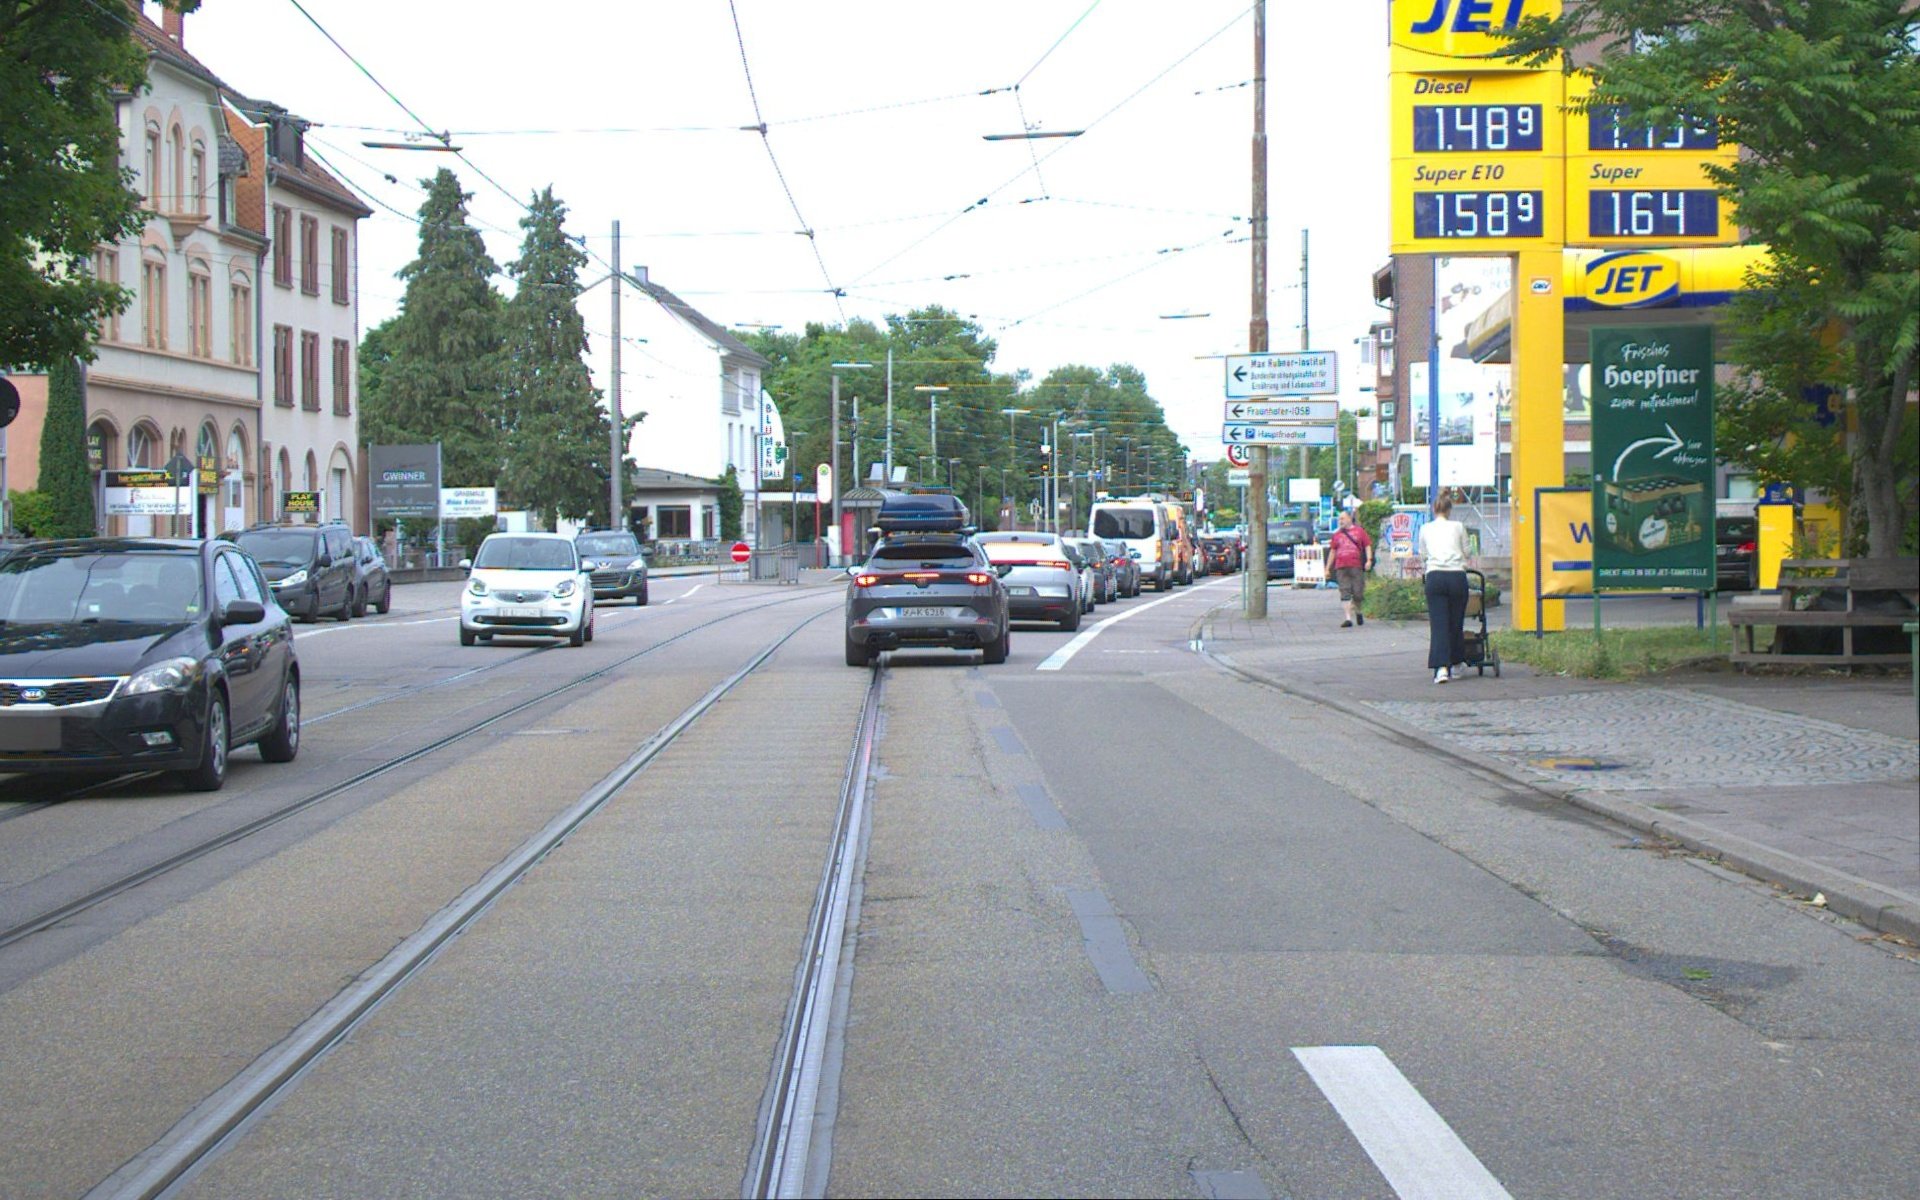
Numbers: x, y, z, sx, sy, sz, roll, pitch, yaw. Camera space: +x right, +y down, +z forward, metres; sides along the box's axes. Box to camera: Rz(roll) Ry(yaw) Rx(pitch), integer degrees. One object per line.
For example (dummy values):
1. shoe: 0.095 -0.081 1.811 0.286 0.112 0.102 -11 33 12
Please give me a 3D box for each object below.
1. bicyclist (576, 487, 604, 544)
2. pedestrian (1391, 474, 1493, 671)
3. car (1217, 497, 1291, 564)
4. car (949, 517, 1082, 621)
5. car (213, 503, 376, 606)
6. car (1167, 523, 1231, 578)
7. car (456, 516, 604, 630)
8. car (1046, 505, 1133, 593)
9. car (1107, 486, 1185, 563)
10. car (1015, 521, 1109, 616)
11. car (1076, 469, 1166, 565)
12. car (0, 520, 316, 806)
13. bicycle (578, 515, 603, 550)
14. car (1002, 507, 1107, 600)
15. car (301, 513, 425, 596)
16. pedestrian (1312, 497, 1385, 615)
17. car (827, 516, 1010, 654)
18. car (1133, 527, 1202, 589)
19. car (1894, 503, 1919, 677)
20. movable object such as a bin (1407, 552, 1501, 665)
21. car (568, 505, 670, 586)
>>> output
1. bicyclist: -11.433 -2.614 106.241 0.735 1.743 0.979 -2 1 -11
2. pedestrian: 4.547 -0.265 32.367 0.768 1.790 1.161 -2 1 14
3. car: 8.363 -1.966 97.986 1.874 1.817 4.096 1 1 2
4. car: 0.834 -0.515 54.318 1.981 1.544 4.184 1 1 -1
5. car: -12.874 -0.889 66.773 1.992 1.880 4.998 1 1 2
6. car: 8.879 -1.838 127.948 1.993 2.007 4.000 1 1 -1
7. car: -5.917 -0.388 47.637 1.703 1.524 3.742 0 1 -2
8. car: 3.125 -1.212 82.082 1.994 2.007 4.000 1 1 3
9. car: 5.344 -2.155 99.232 2.139 2.138 4.743 1 1 3
10. car: 2.245 -0.705 75.827 1.993 2.007 4.000 1 1 2
11. car: 4.186 -2.148 89.823 2.216 2.415 4.951 1 1 2
12. car: -5.157 0.305 20.851 1.747 1.481 4.063 -1 2 -1
13. bicycle: -11.419 -2.087 106.250 0.586 1.070 1.958 -2 1 -11
14. car: 1.839 -0.922 67.606 1.969 1.750 3.838 1 1 1
15. car: -12.859 -0.990 74.237 1.844 1.712 4.193 1 1 1
16. pedestrian: 5.873 -0.663 51.982 0.972 1.732 0.861 -2 1 3
17. car: -0.479 -0.197 40.047 1.990 1.492 4.326 1 1 -1
18. car: 6.967 -1.427 115.769 1.993 2.007 4.000 1 1 -1
19. car: 9.843 -0.172 28.835 1.934 1.402 4.573 0 3 43
20. movable object such as a bin: 4.790 0.080 33.308 0.768 1.035 1.023 -2 1 14
21. car: -7.553 -1.213 76.508 1.827 1.731 4.335 -1 1 0
